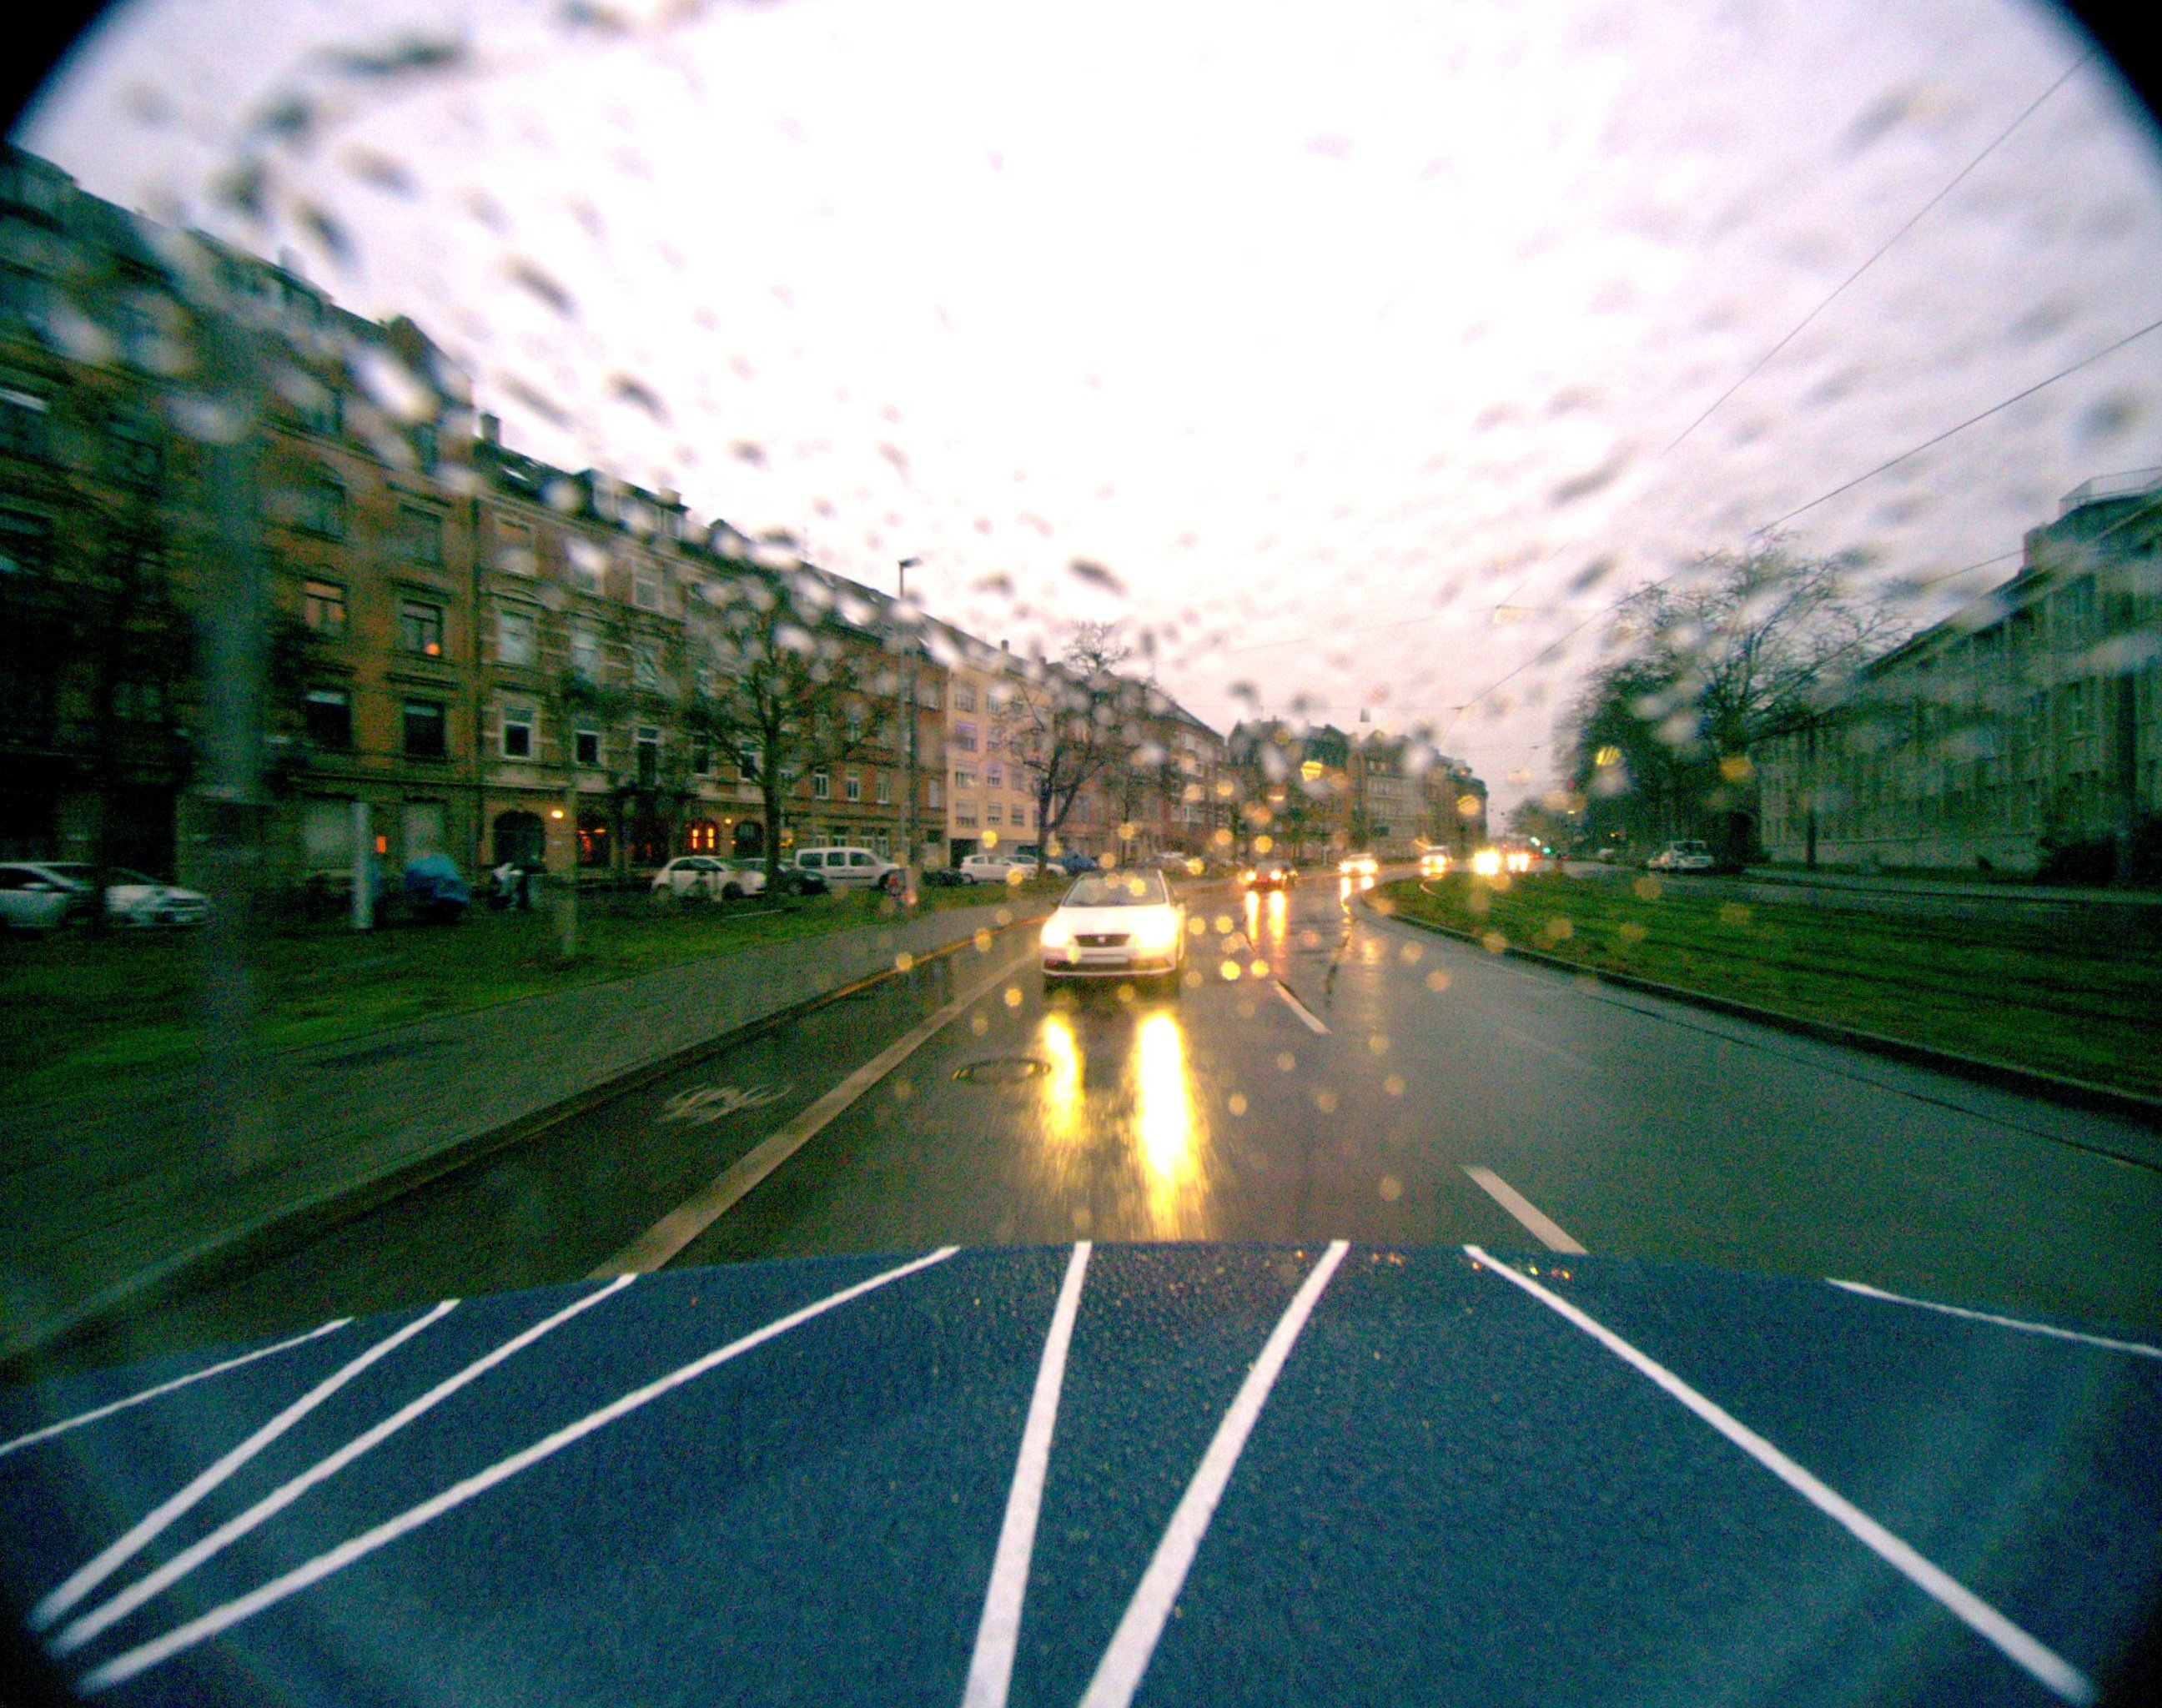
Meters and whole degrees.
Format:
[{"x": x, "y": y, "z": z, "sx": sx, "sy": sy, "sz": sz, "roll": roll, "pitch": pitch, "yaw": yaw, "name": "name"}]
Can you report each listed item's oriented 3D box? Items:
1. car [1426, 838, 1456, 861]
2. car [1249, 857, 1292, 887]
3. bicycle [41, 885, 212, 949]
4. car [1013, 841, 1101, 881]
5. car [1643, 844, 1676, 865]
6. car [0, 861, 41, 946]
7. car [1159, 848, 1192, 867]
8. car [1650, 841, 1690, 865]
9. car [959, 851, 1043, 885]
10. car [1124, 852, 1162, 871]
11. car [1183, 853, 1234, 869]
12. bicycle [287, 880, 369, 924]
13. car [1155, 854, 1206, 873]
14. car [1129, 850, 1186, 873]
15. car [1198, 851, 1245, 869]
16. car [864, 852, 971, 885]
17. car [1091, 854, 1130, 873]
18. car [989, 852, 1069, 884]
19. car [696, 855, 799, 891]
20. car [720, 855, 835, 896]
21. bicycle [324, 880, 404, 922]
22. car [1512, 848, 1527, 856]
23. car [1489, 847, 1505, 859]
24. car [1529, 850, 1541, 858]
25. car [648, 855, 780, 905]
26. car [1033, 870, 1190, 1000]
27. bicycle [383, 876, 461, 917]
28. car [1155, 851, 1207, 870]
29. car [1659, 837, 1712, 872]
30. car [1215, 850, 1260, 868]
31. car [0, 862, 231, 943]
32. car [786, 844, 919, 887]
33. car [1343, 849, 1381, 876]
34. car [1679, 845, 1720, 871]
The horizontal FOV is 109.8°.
[{"x": 40.930, "y": -0.533, "z": 86.403, "sx": 2.125, "sy": 2.366, "sz": 5.649, "roll": -3, "pitch": 0, "yaw": 35, "name": "car"}, {"x": 9.374, "y": 0.863, "z": 37.468, "sx": 1.587, "sy": 1.418, "sz": 3.139, "roll": -1, "pitch": 0, "yaw": 23, "name": "car"}, {"x": -15.521, "y": 1.004, "z": 12.418, "sx": 1.655, "sy": 0.931, "sz": 0.513, "roll": 0, "pitch": 0, "yaw": -38, "name": "bicycle"}, {"x": -1.381, "y": 0.384, "z": 42.387, "sx": 4.721, "sy": 1.971, "sz": 1.798, "roll": -2, "pitch": 0, "yaw": -5, "name": "car"}, {"x": 48.031, "y": 0.022, "z": 63.155, "sx": 1.612, "sy": 1.650, "sz": 3.617, "roll": -1, "pitch": 0, "yaw": 27, "name": "car"}, {"x": -18.955, "y": 0.837, "z": 11.516, "sx": 3.743, "sy": 1.346, "sz": 1.677, "roll": -2, "pitch": -1, "yaw": -5, "name": "car"}, {"x": 9.281, "y": 0.335, "z": 74.823, "sx": 1.670, "sy": 1.693, "sz": 3.472, "roll": -3, "pitch": 0, "yaw": 36, "name": "car"}, {"x": 44.255, "y": -0.074, "z": 57.161, "sx": 1.823, "sy": 1.645, "sz": 3.866, "roll": -3, "pitch": 0, "yaw": 31, "name": "car"}, {"x": -3.882, "y": 0.679, "z": 37.354, "sx": 3.771, "sy": 1.424, "sz": 1.762, "roll": -3, "pitch": 0, "yaw": 5, "name": "car"}, {"x": 5.783, "y": 0.689, "z": 70.016, "sx": 1.690, "sy": 1.534, "sz": 4.007, "roll": -2, "pitch": 0, "yaw": 34, "name": "car"}, {"x": 10.091, "y": 0.548, "z": 60.384, "sx": 3.763, "sy": 1.271, "sz": 1.602, "roll": -1, "pitch": 0, "yaw": 1, "name": "car"}, {"x": -17.516, "y": 1.117, "z": 17.662, "sx": 2.165, "sy": 0.960, "sz": 0.627, "roll": -2, "pitch": -2, "yaw": 25, "name": "bicycle"}, {"x": 7.636, "y": 0.736, "z": 58.513, "sx": 3.761, "sy": 1.324, "sz": 1.602, "roll": -3, "pitch": 0, "yaw": 8, "name": "car"}, {"x": 5.411, "y": 0.538, "z": 54.077, "sx": 3.870, "sy": 1.398, "sz": 1.695, "roll": -3, "pitch": 0, "yaw": 3, "name": "car"}, {"x": 11.794, "y": 0.496, "z": 63.941, "sx": 3.761, "sy": 1.346, "sz": 1.602, "roll": -3, "pitch": 0, "yaw": 8, "name": "car"}, {"x": -6.861, "y": 0.600, "z": 32.110, "sx": 4.060, "sy": 1.227, "sz": 1.771, "roll": 2, "pitch": -1, "yaw": 2, "name": "car"}, {"x": 2.552, "y": 0.762, "z": 64.806, "sx": 1.470, "sy": 1.534, "sz": 3.880, "roll": 0, "pitch": 0, "yaw": 34, "name": "car"}, {"x": -2.702, "y": 0.710, "z": 39.503, "sx": 3.999, "sy": 1.406, "sz": 1.641, "roll": -3, "pitch": 0, "yaw": -5, "name": "car"}, {"x": -15.210, "y": 0.840, "z": 34.864, "sx": 1.733, "sy": 1.492, "sz": 4.058, "roll": -3, "pitch": -1, "yaw": 29, "name": "car"}, {"x": -10.841, "y": 0.770, "z": 27.320, "sx": 3.431, "sy": 1.343, "sz": 1.664, "roll": -1, "pitch": 0, "yaw": -2, "name": "car"}, {"x": -17.313, "y": 1.134, "z": 18.335, "sx": 2.165, "sy": 0.960, "sz": 0.627, "roll": -2, "pitch": -2, "yaw": 25, "name": "bicycle"}, {"x": 83.557, "y": -0.331, "z": 144.684, "sx": 1.892, "sy": 1.405, "sz": 3.955, "roll": 0, "pitch": 0, "yaw": 40, "name": "car"}, {"x": 63.455, "y": -0.162, "z": 115.888, "sx": 1.646, "sy": 1.739, "sz": 3.562, "roll": 0, "pitch": 0, "yaw": 39, "name": "car"}, {"x": 111.541, "y": -0.043, "z": 186.651, "sx": 1.948, "sy": 1.804, "sz": 4.008, "roll": -1, "pitch": 0, "yaw": 39, "name": "car"}, {"x": -11.903, "y": 0.827, "z": 24.779, "sx": 3.463, "sy": 1.435, "sz": 1.614, "roll": -2, "pitch": 0, "yaw": 3, "name": "car"}, {"x": 0.612, "y": 1.013, "z": 10.886, "sx": 1.714, "sy": 1.404, "sz": 3.682, "roll": -3, "pitch": 0, "yaw": 10, "name": "car"}, {"x": -16.632, "y": 1.049, "z": 19.156, "sx": 2.165, "sy": 0.960, "sz": 0.627, "roll": 0, "pitch": 1, "yaw": 25, "name": "bicycle"}, {"x": 7.444, "y": 0.483, "z": 56.688, "sx": 3.761, "sy": 1.325, "sz": 1.602, "roll": 0, "pitch": 1, "yaw": 8, "name": "car"}, {"x": 38.562, "y": 0.007, "z": 48.539, "sx": 1.995, "sy": 2.002, "sz": 4.517, "roll": -3, "pitch": 0, "yaw": 31, "name": "car"}, {"x": 13.703, "y": 0.441, "z": 66.605, "sx": 3.761, "sy": 1.346, "sz": 1.602, "roll": -3, "pitch": 0, "yaw": 8, "name": "car"}, {"x": -18.408, "y": 0.846, "z": 13.790, "sx": 3.857, "sy": 1.329, "sz": 1.697, "roll": -1, "pitch": 0, "yaw": -4, "name": "car"}, {"x": -8.871, "y": 0.437, "z": 29.781, "sx": 4.660, "sy": 1.583, "sz": 1.777, "roll": 1, "pitch": 1, "yaw": 0, "name": "car"}, {"x": 19.551, "y": 0.569, "z": 52.776, "sx": 1.671, "sy": 1.650, "sz": 4.155, "roll": -3, "pitch": 0, "yaw": 30, "name": "car"}, {"x": 36.328, "y": 0.241, "z": 44.679, "sx": 1.557, "sy": 1.420, "sz": 2.960, "roll": -1, "pitch": 1, "yaw": 32, "name": "car"}]
